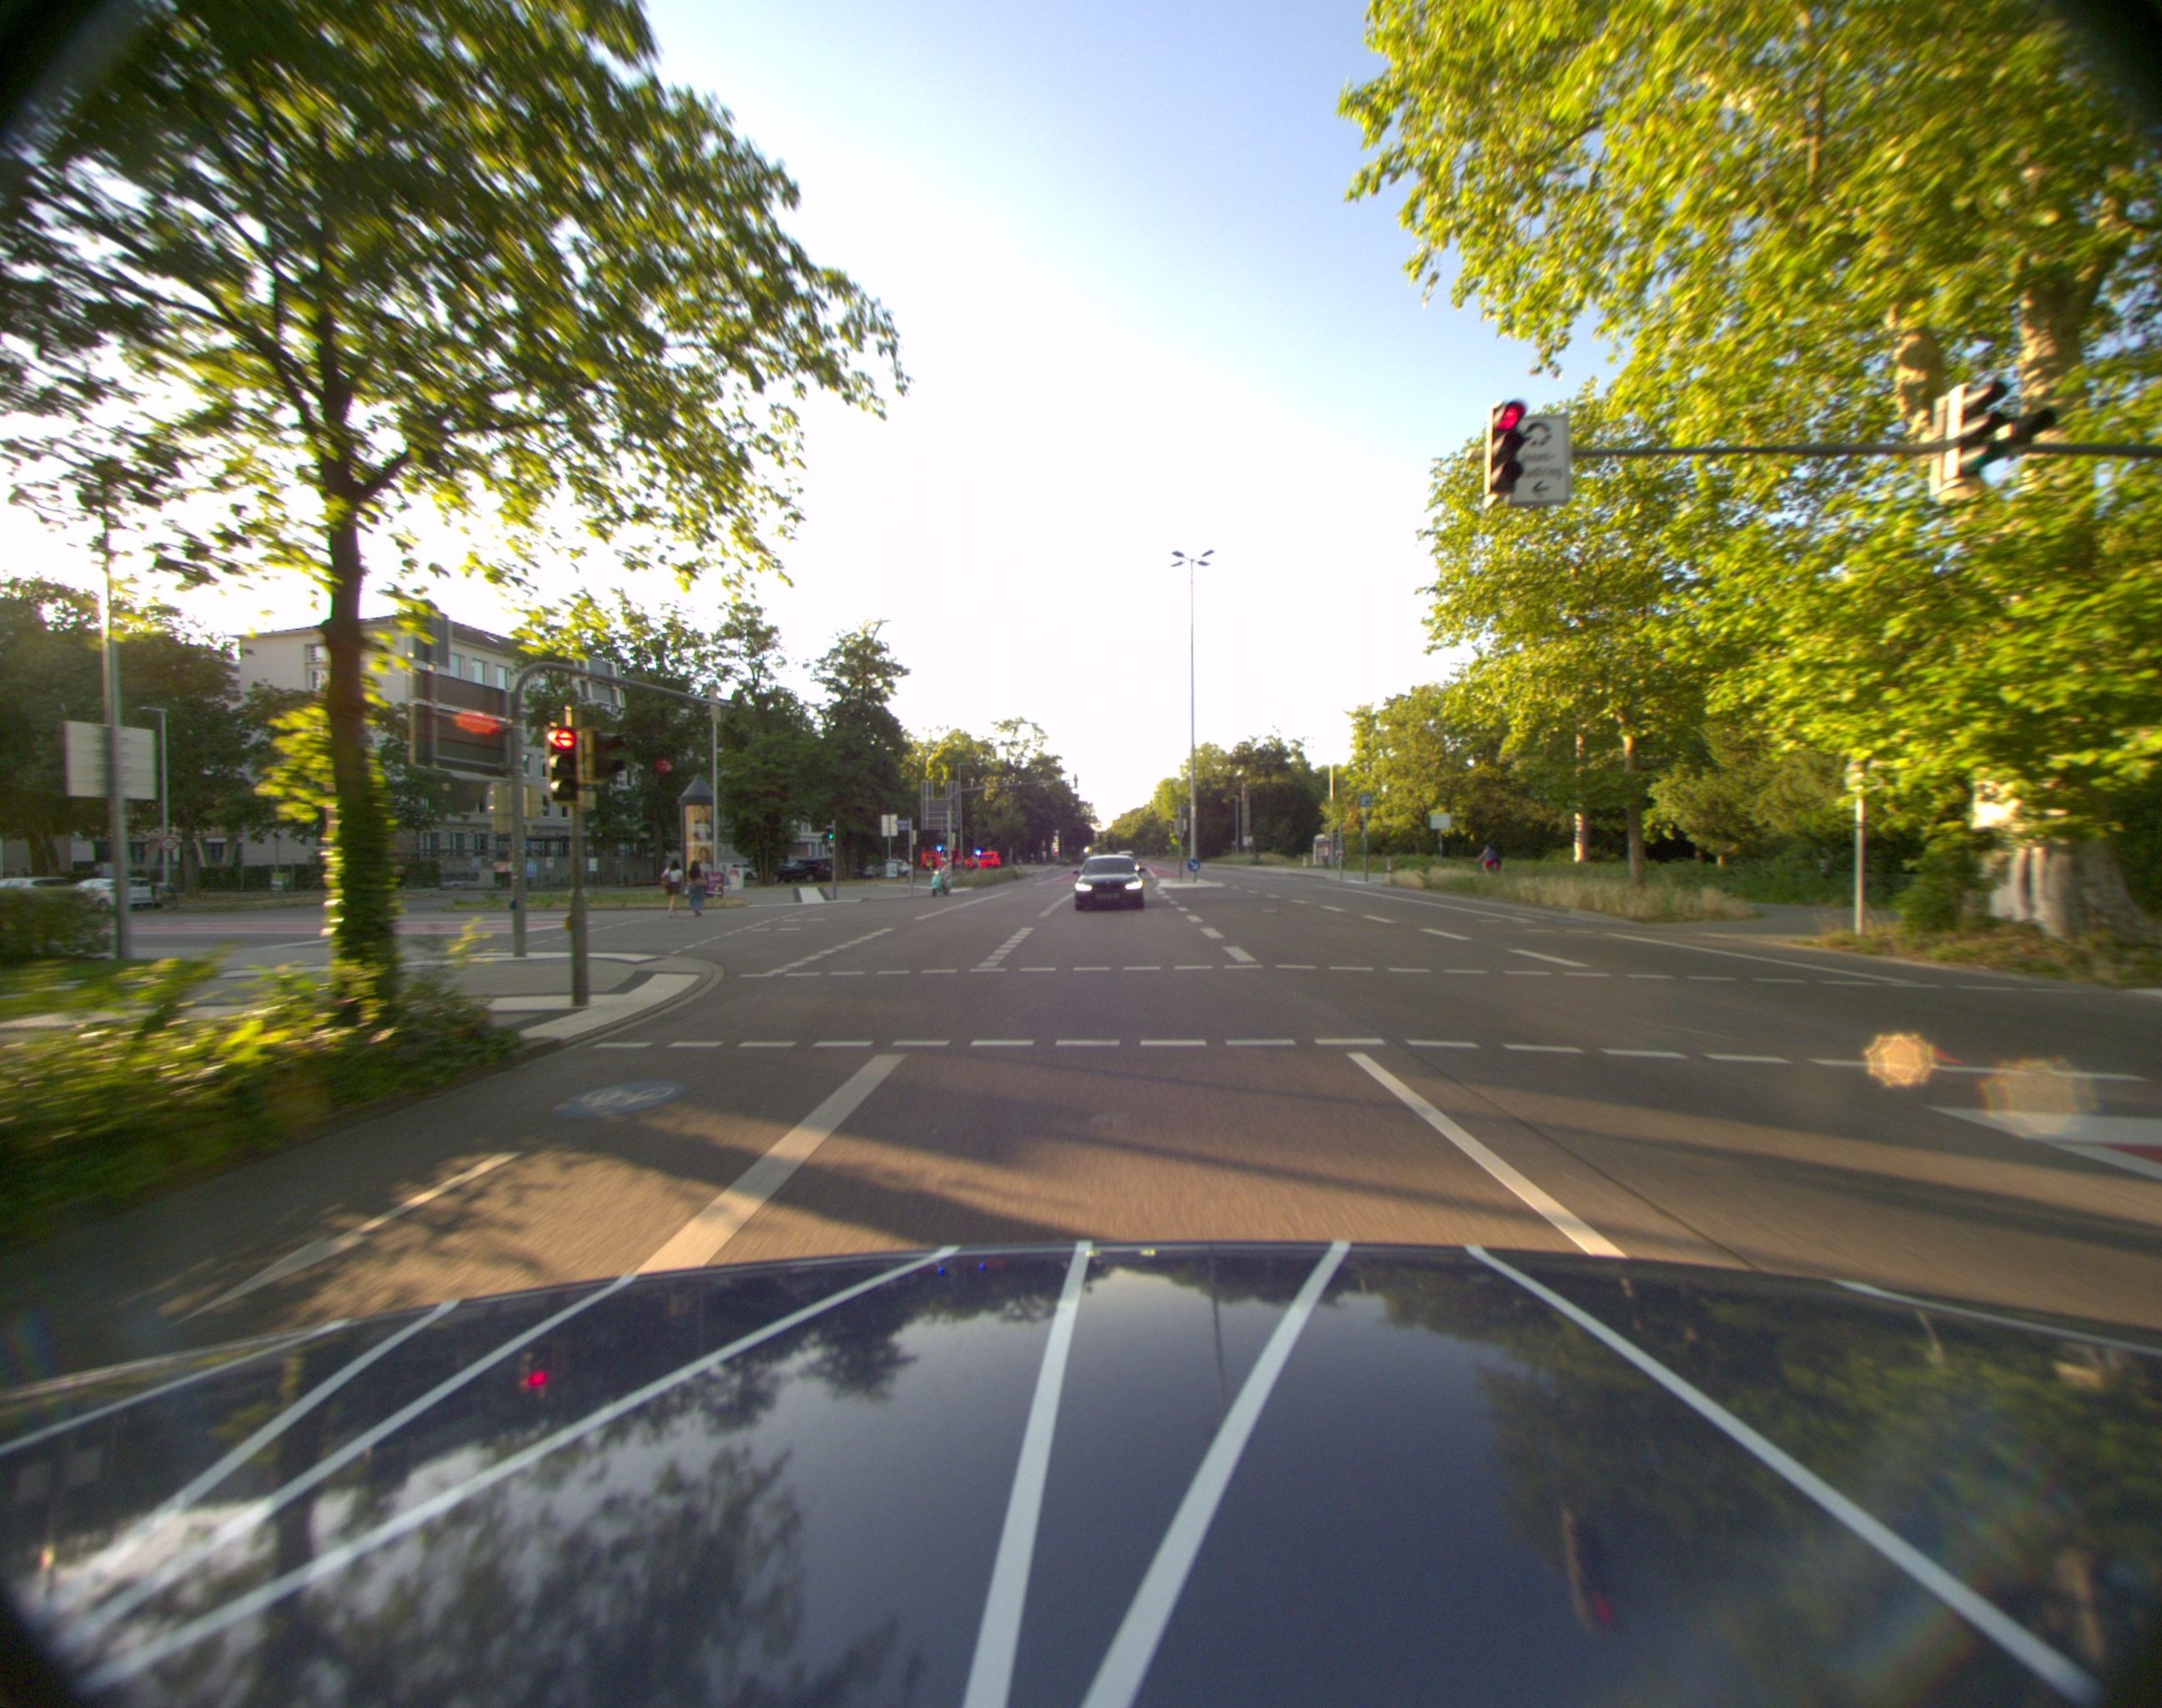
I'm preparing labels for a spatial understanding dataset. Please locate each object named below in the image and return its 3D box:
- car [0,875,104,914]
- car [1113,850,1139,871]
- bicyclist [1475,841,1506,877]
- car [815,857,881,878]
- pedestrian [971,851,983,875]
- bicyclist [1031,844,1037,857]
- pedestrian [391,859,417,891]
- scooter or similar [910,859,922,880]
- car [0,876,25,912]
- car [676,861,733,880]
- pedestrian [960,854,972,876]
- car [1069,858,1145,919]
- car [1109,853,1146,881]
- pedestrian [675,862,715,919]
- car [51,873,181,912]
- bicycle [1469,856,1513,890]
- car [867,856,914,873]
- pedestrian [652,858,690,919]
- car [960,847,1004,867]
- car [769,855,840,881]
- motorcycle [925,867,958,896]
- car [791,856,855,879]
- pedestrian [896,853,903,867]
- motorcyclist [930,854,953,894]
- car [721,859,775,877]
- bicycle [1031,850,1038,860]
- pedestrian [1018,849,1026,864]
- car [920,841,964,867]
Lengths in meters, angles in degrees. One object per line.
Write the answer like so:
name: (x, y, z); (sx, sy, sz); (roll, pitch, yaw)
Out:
car: (-47.033, 1.823, 34.240); (3.994, 1.602, 2.001); (-1, 1, 10)
car: (3.498, 0.512, 59.838); (1.850, 1.473, 4.703); (-3, 0, 2)
bicyclist: (16.327, 0.184, 30.319); (0.791, 1.419, 0.892); (-1, 1, 4)
car: (-18.033, 1.034, 58.922); (4.514, 1.455, 1.920); (-1, 1, 7)
pedestrian: (-7.398, 0.644, 53.942); (0.721, 1.650, 0.776); (-1, 1, -1)
bicyclist: (-5.868, -0.432, 95.483); (0.571, 1.623, 1.038); (-1, 1, 4)
pedestrian: (-38.402, 1.188, 43.102); (0.894, 1.729, 0.705); (-1, 1, 12)
scooter or similar: (-10.241, 0.942, 47.167); (0.441, 1.264, 1.179); (-1, 1, 4)
car: (-51.915, 1.897, 35.079); (3.994, 1.630, 2.001); (-1, 1, 8)
car: (-29.974, 1.286, 60.505); (3.623, 1.451, 1.771); (-1, 1, 6)
pedestrian: (-8.202, 0.797, 54.073); (0.737, 1.514, 0.789); (-1, 1, -1)
car: (0.706, 0.856, 21.289); (1.818, 1.391, 5.213); (-2, 0, 1)
car: (2.507, 0.657, 41.785); (1.850, 1.346, 4.704); (-3, 0, 2)
pedestrian: (-11.289, 1.055, 22.263); (0.682, 1.613, 0.845); (-1, 0, 4)
car: (-42.561, 1.686, 33.545); (3.993, 1.630, 1.902); (-1, 1, 11)
bicycle: (16.339, 0.735, 30.352); (0.791, 1.249, 1.980); (-1, 1, 4)
car: (-17.097, 0.946, 68.306); (3.661, 1.451, 1.665); (-1, 1, 9)
pedestrian: (-12.064, 0.997, 22.362); (0.682, 1.744, 0.689); (-1, 0, 4)
car: (-12.591, 0.352, 96.932); (5.163, 2.379, 2.001); (-1, 1, 7)
car: (-19.314, 0.953, 53.119); (4.233, 1.730, 1.920); (-1, 1, 9)
motorcycle: (-6.139, 1.184, 33.560); (0.683, 1.190, 1.895); (-2, 0, 13)
car: (-18.988, 0.998, 55.941); (3.993, 1.601, 1.920); (-1, 1, 11)
pedestrian: (-24.073, 0.829, 100.864); (0.682, 1.831, 0.846); (-1, 0, 6)
motorcyclist: (-6.152, 0.865, 33.562); (0.739, 1.727, 0.691); (-2, 0, 12)
car: (-28.886, 1.209, 65.915); (3.910, 1.513, 1.919); (-1, 1, 13)
bicycle: (-5.854, 0.105, 95.487); (0.571, 1.233, 1.899); (-1, 0, 4)
pedestrian: (-6.289, 0.306, 81.117); (0.682, 1.613, 0.689); (-1, 0, 4)
car: (-18.125, -0.068, 99.784); (2.769, 3.225, 8.303); (-1, 0, 10)
